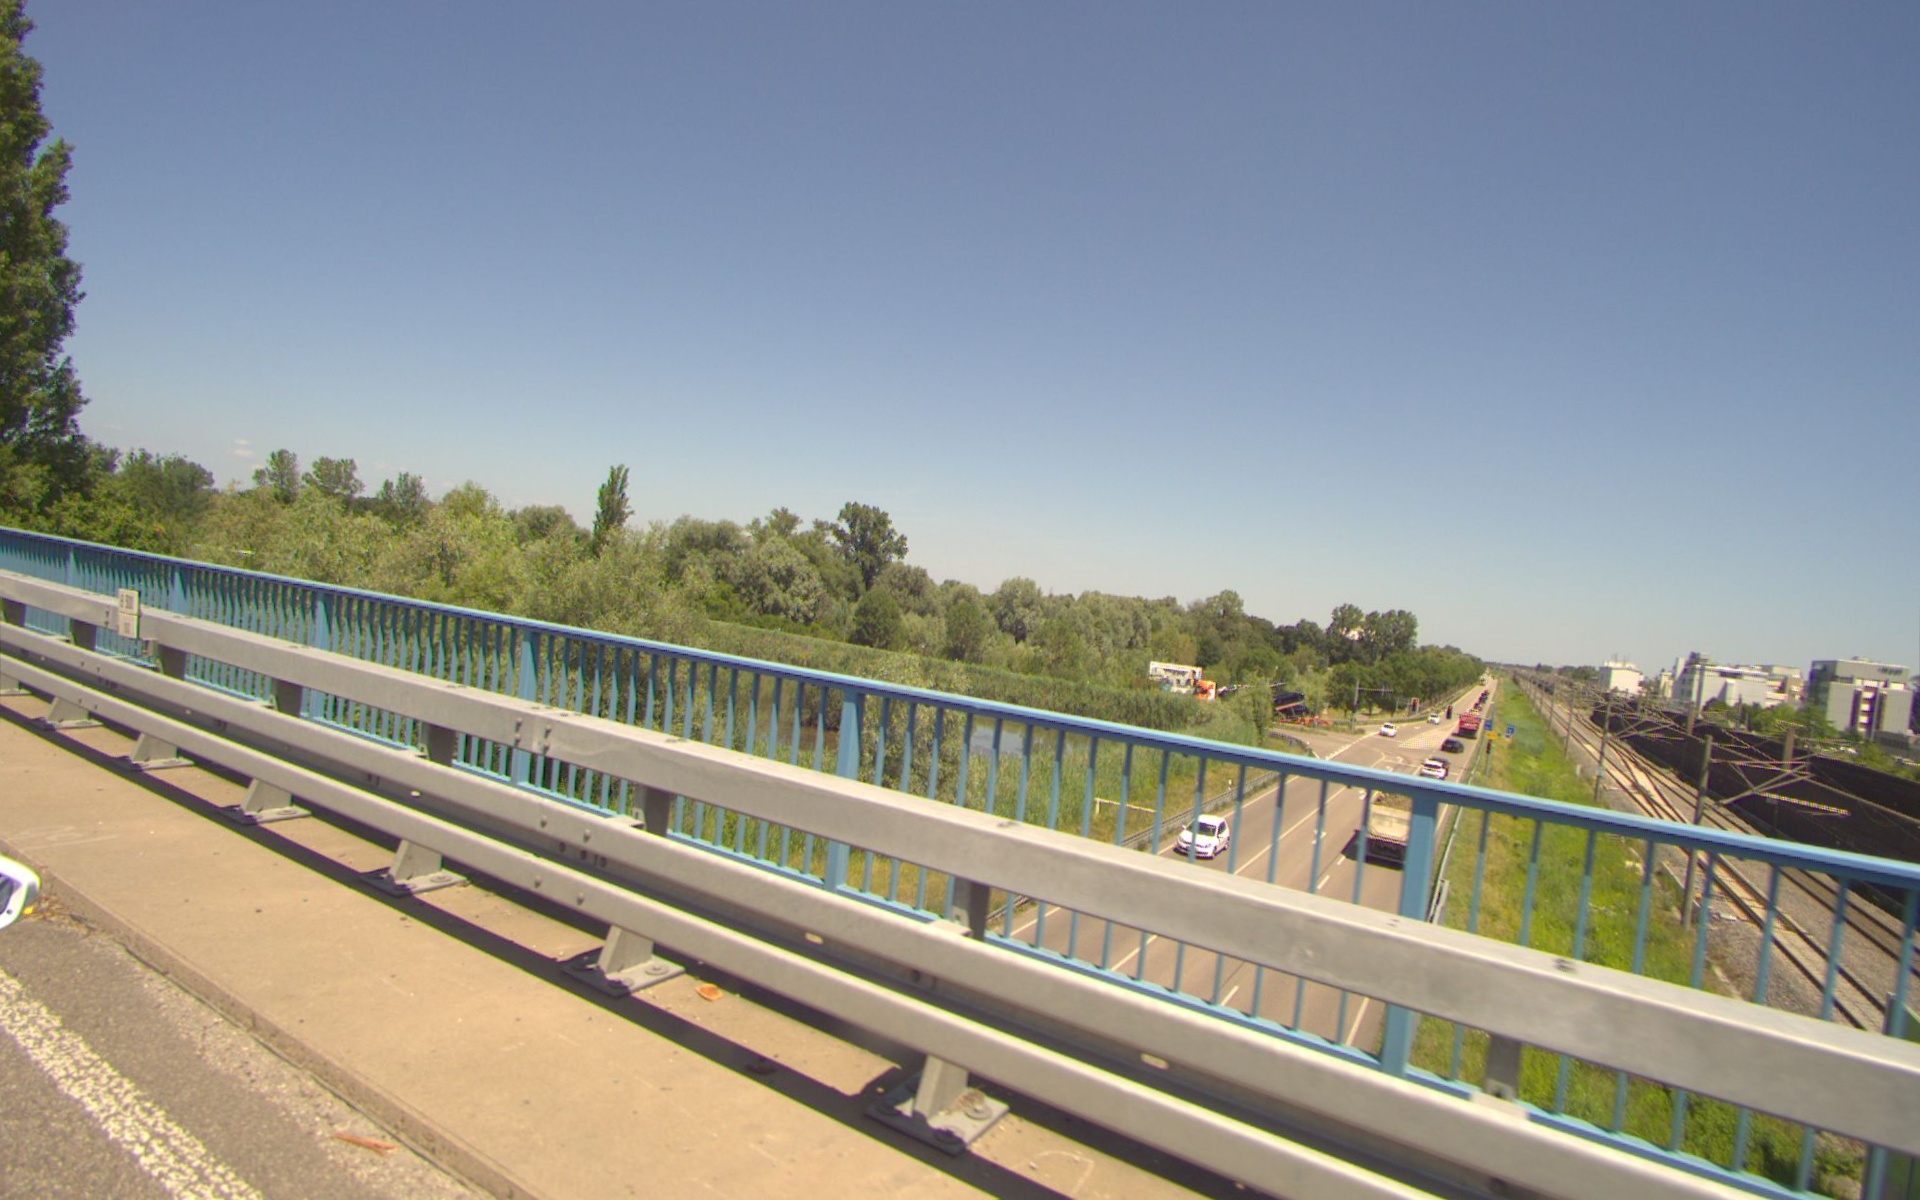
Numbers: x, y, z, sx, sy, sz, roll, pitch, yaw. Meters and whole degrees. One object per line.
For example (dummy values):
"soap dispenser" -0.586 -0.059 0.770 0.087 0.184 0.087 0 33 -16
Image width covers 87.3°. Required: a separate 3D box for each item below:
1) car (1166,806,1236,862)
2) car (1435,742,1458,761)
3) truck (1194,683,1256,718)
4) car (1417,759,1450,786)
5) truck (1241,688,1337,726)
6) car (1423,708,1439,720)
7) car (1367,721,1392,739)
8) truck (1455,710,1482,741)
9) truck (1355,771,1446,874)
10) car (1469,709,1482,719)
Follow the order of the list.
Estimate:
"car" 11.499 11.044 47.744 1.966 1.638 4.237 9 1 30
"car" 56.477 17.548 116.734 1.965 1.638 4.237 9 1 29
"truck" 32.484 12.303 123.474 6.695 3.398 2.001 6 -1 3
"car" 40.716 14.797 86.504 1.966 1.638 4.236 9 1 31
"truck" 40.810 13.309 124.726 12.276 3.397 1.993 7 -1 -18
"car" 85.258 20.662 182.198 1.967 1.638 4.234 9 1 32
"car" 51.368 15.931 123.239 1.967 1.638 4.234 9 1 32
"truck" 73.991 18.135 146.330 2.826 3.467 10.974 8 1 28
"truck" 23.946 11.688 54.240 2.827 3.467 11.918 8 1 30
"car" 103.771 22.914 202.434 1.966 1.638 4.236 9 1 31
